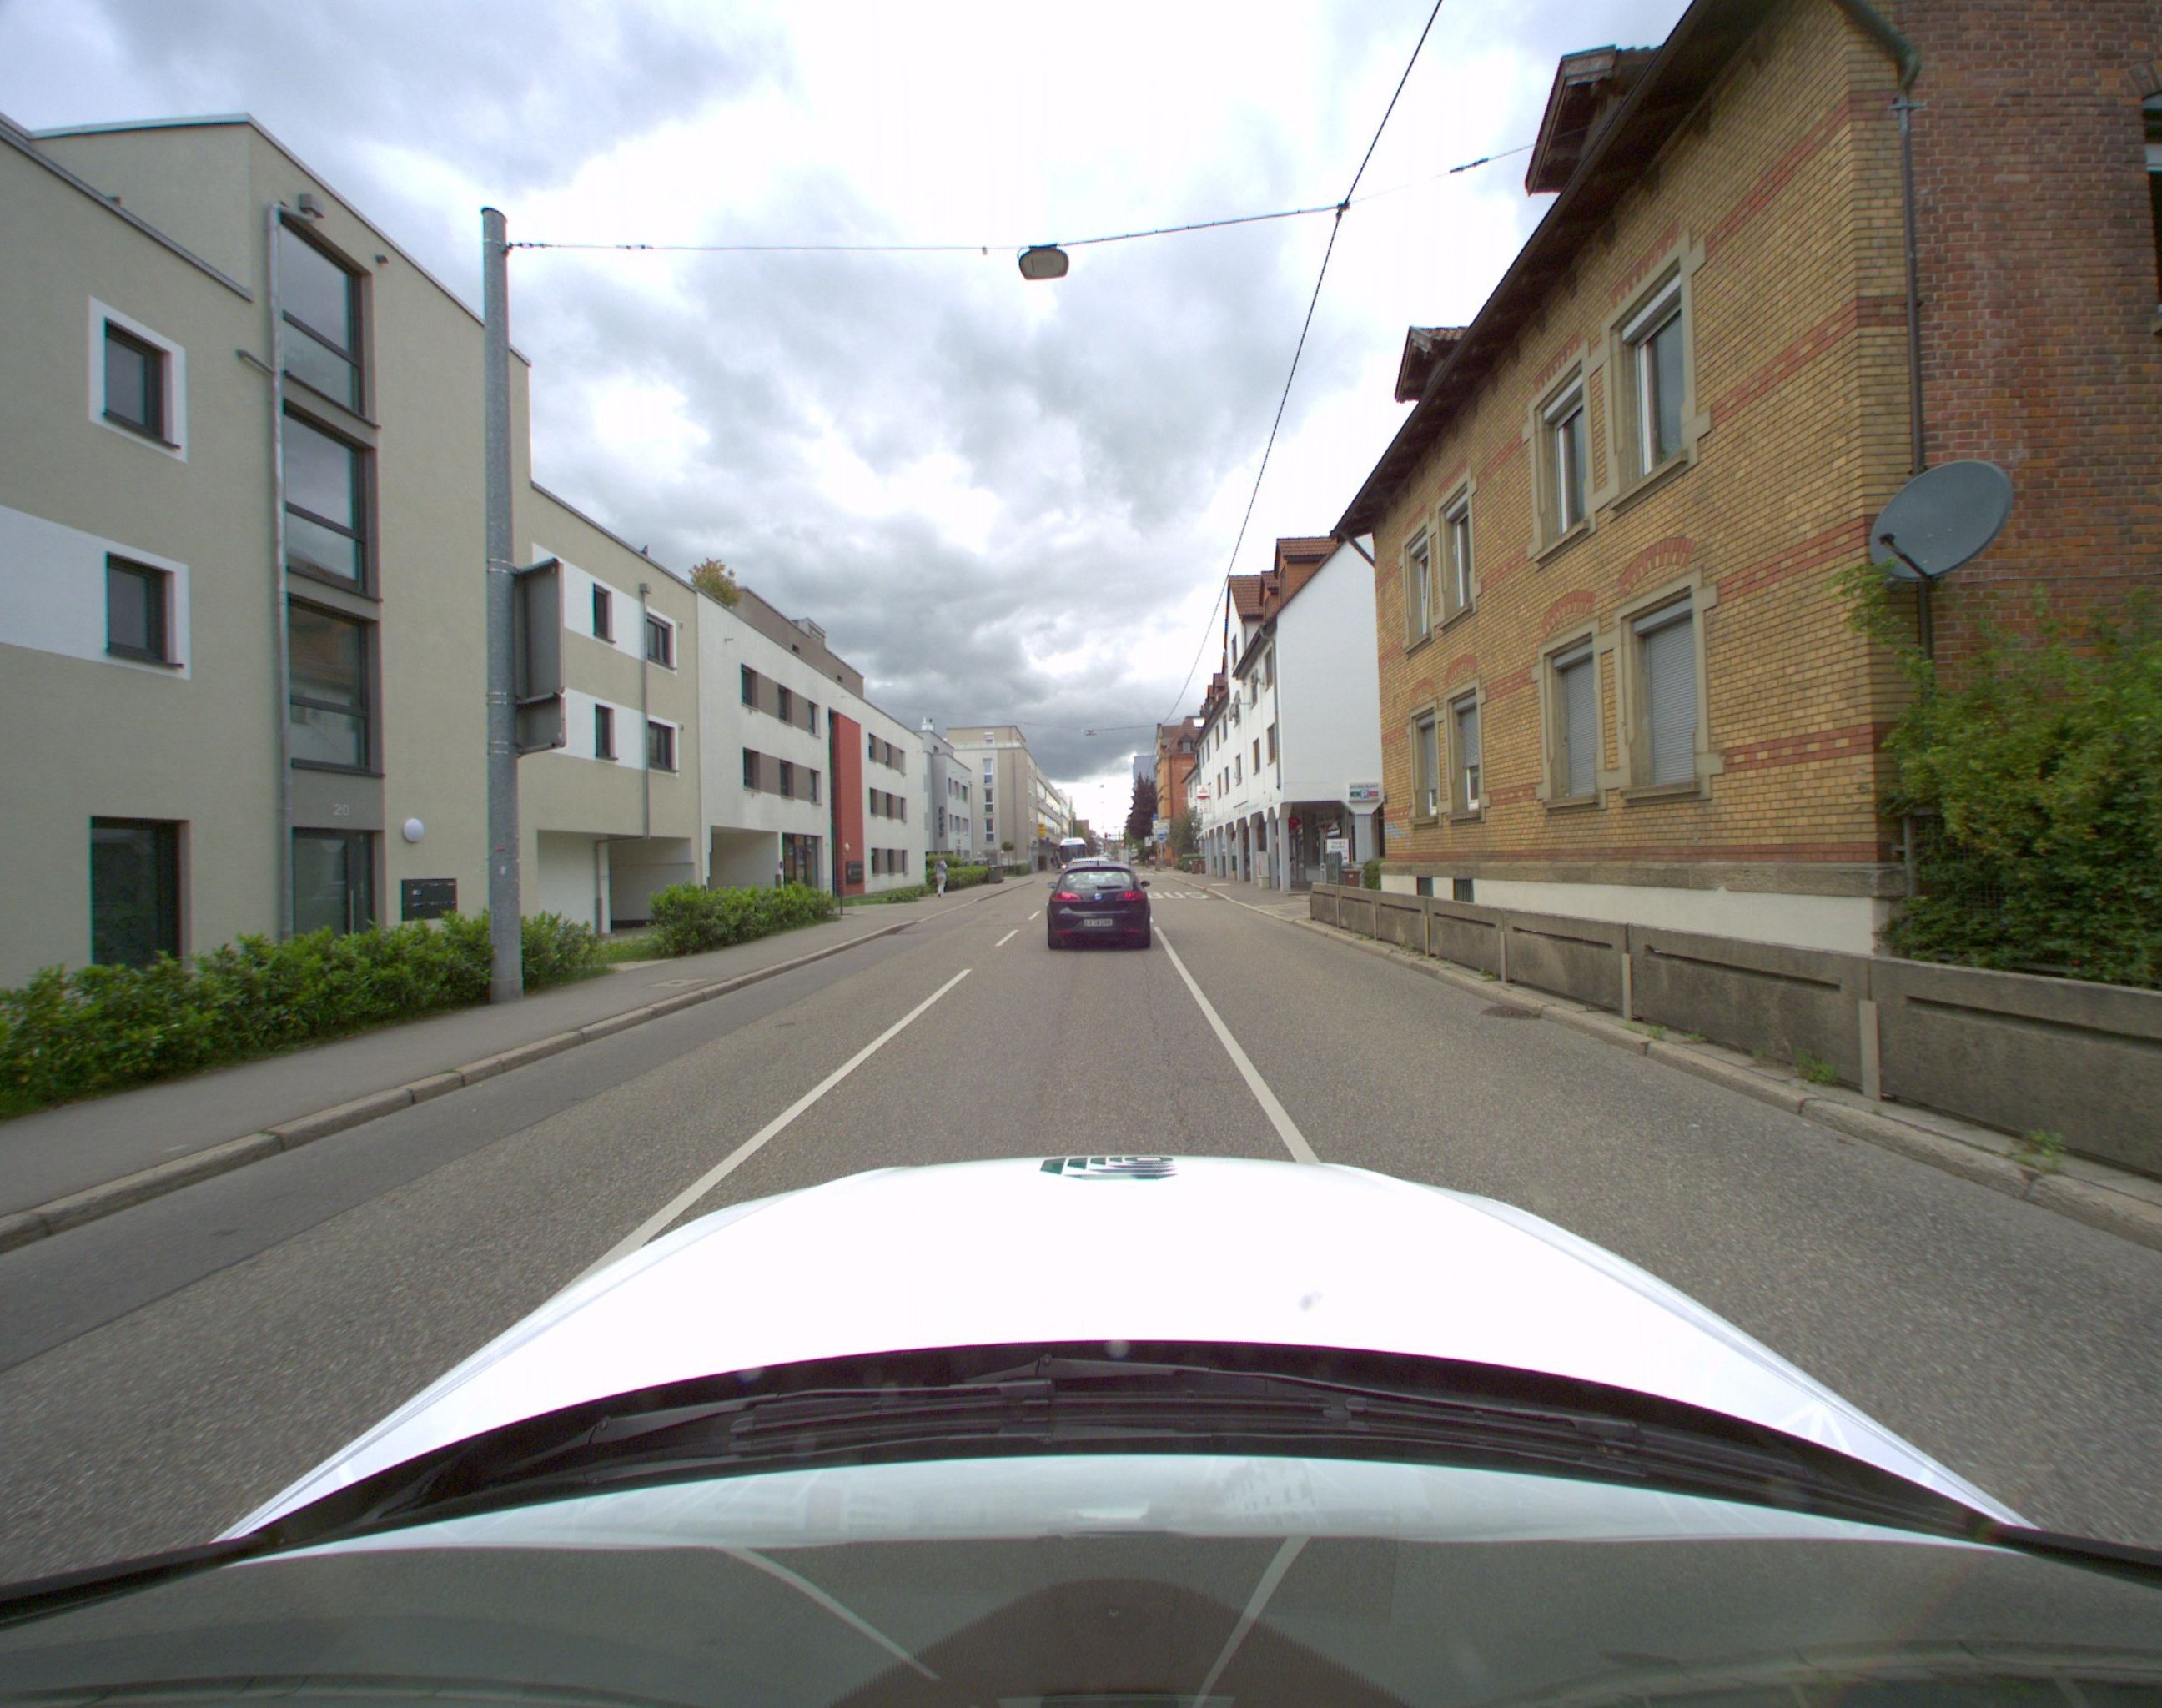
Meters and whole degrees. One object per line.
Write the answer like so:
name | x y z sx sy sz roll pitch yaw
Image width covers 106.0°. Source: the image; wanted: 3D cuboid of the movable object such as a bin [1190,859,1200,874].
movable object such as a bin | 8.510 0.902 60.629 0.680 1.067 0.973 -2 0 6

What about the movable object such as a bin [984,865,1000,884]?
movable object such as a bin | -5.266 1.204 48.341 0.892 1.089 0.792 -2 0 -3

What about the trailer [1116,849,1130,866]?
trailer | 6.610 0.523 128.819 1.986 2.607 5.350 -2 0 1

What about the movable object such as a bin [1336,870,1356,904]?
movable object such as a bin | 7.236 0.894 22.234 0.396 0.904 0.456 -2 0 2

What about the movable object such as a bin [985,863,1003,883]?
movable object such as a bin | -5.253 1.144 49.269 0.954 1.151 0.839 -2 0 -3

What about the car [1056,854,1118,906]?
car | 0.232 0.777 25.922 1.797 1.492 3.738 -2 0 1

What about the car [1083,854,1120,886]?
car | 1.042 0.807 42.243 1.797 1.553 3.738 -2 0 1

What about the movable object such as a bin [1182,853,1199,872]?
movable object such as a bin | 8.675 0.665 64.552 1.262 1.417 1.163 -2 0 2

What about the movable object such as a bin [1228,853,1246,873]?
movable object such as a bin | 11.521 0.666 60.160 1.203 1.417 1.261 -2 0 6

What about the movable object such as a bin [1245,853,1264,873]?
movable object such as a bin | 12.769 0.636 60.070 1.203 1.417 1.261 -2 0 6

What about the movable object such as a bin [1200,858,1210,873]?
movable object such as a bin | 9.236 0.882 60.584 0.694 1.079 0.973 -2 0 6

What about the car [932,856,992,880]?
car | -9.016 1.060 61.955 4.143 1.667 1.727 -2 -1 5

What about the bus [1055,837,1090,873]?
bus | -0.728 0.099 83.873 2.931 3.274 12.012 -3 0 2

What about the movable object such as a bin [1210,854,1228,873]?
movable object such as a bin | 10.165 0.702 60.212 1.203 1.417 1.261 -2 0 6

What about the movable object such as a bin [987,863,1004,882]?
movable object such as a bin | -5.274 1.150 50.102 0.946 1.151 0.748 -2 0 -3

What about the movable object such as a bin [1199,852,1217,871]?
movable object such as a bin | 10.015 0.607 64.301 1.262 1.435 1.308 -2 0 2

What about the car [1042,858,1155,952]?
car | 0.342 0.823 14.875 1.759 1.433 3.830 -2 0 2

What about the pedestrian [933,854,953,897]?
pedestrian | -5.476 0.848 32.291 0.636 1.642 0.520 -2 0 1

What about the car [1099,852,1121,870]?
car | 2.550 0.612 72.366 1.797 1.553 3.738 -2 0 1
